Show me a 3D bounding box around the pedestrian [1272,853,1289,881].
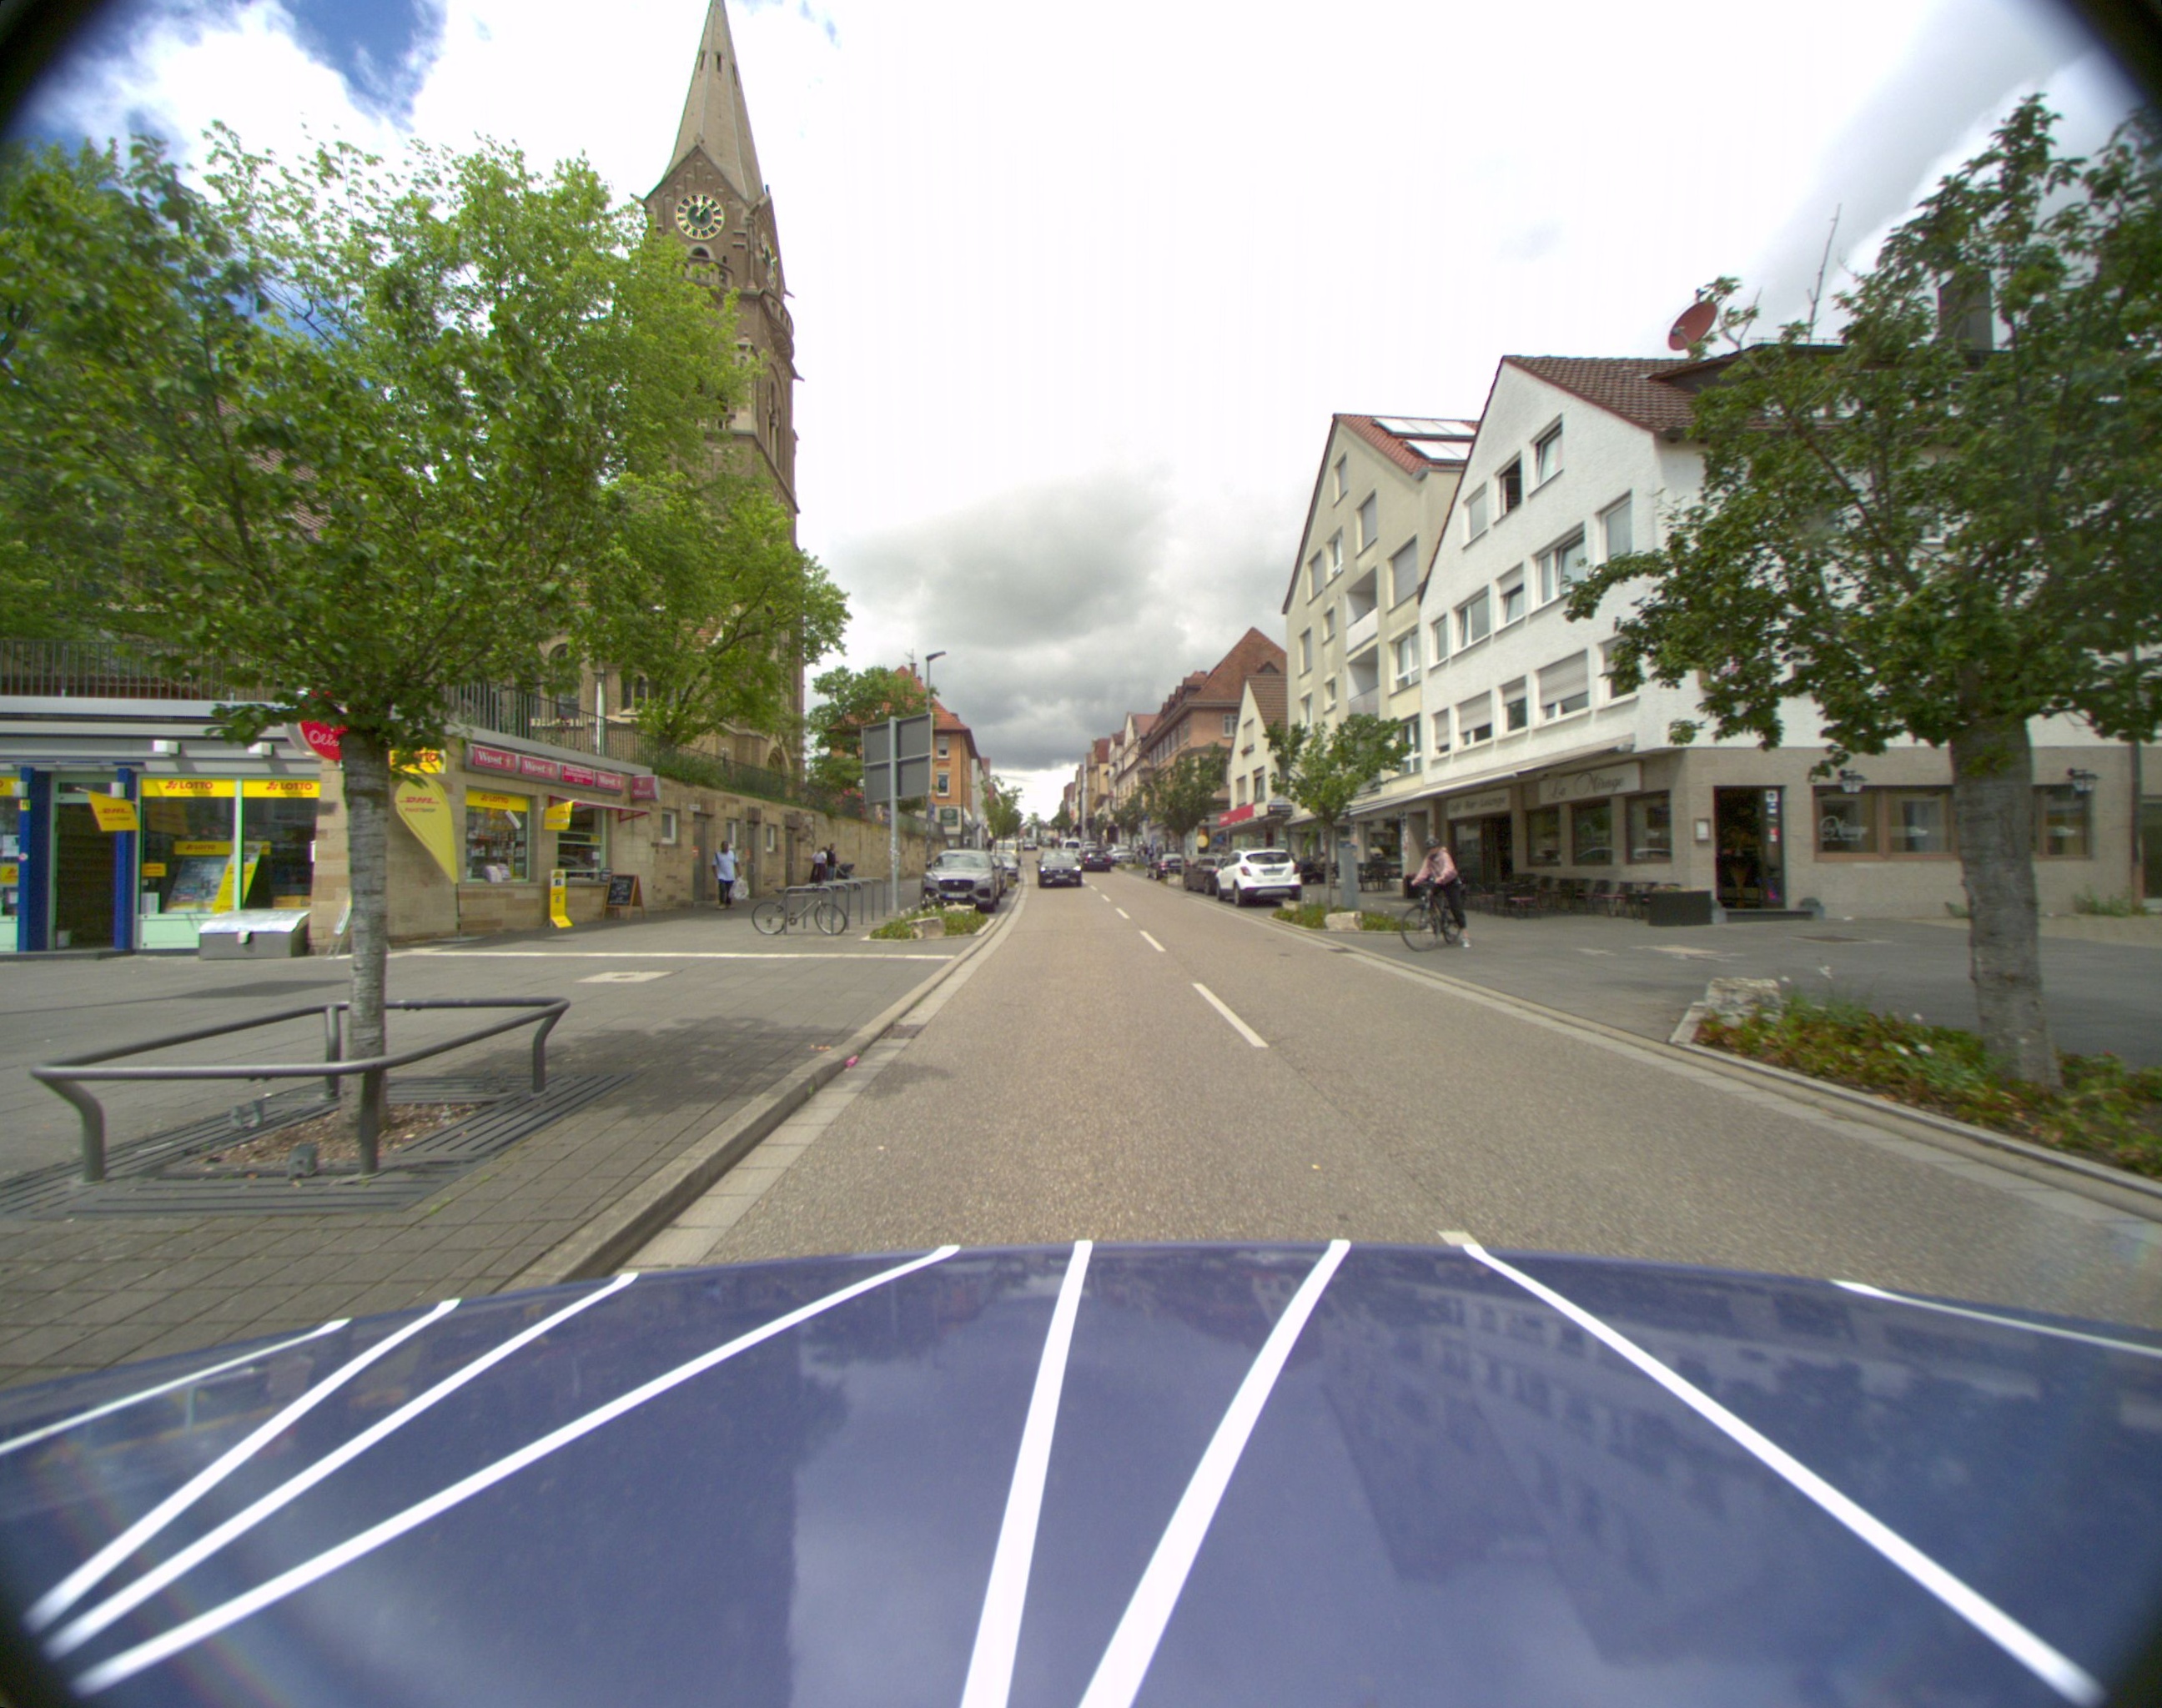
[{"bbox_3d":[8.916,0.569,33.967,0.597,1.239,0.598,-1,2,-4],"label":"pedestrian"}]

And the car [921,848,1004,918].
[{"bbox_3d":[-3.199,0.711,21.303,1.934,1.714,4.571,1,1,-5],"label":"car"}]

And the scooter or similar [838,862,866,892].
[{"bbox_3d":[-8.272,0.833,27.492,0.813,1.066,0.560,1,2,8],"label":"scooter or similar"}]

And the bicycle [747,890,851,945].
[{"bbox_3d":[-5.165,1.163,13.966,1.732,0.990,0.345,1,1,-7],"label":"bicycle"}]

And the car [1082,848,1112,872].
[{"bbox_3d":[0.992,0.360,47.437,1.611,1.380,3.627,1,1,-3],"label":"car"}]

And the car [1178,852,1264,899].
[{"bbox_3d":[5.016,0.725,27.791,1.845,1.443,4.512,-2,1,-6],"label":"car"}]

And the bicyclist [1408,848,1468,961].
[{"bbox_3d":[5.519,0.749,11.734,0.779,1.685,0.508,0,1,-38],"label":"bicyclist"}]

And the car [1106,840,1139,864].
[{"bbox_3d":[2.966,-0.172,55.122,1.730,1.564,4.451,-1,2,-6],"label":"car"}]

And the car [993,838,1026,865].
[{"bbox_3d":[-5.255,-0.252,56.201,1.890,1.837,5.029,0,2,1],"label":"car"}]

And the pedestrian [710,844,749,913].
[{"bbox_3d":[-8.969,0.625,19.399,0.764,1.720,0.596,1,1,-37],"label":"pedestrian"}]

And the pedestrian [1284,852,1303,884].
[{"bbox_3d":[8.595,0.576,30.776,0.551,1.260,0.598,-1,2,-4],"label":"pedestrian"}]

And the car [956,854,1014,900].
[{"bbox_3d":[-3.437,0.775,27.849,1.685,1.409,4.369,0,2,-2],"label":"car"}]

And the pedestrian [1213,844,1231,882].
[{"bbox_3d":[6.596,0.421,35.593,0.662,1.751,0.777,-1,2,-5],"label":"pedestrian"}]

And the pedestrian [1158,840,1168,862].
[{"bbox_3d":[6.007,-0.239,55.750,0.615,1.573,0.641,-1,2,-6],"label":"pedestrian"}]

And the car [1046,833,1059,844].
[{"bbox_3d":[-4.201,-2.265,110.298,1.686,1.492,4.150,0,2,-4],"label":"car"}]

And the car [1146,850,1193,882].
[{"bbox_3d":[4.388,0.544,38.288,1.661,1.384,4.441,-1,2,-3],"label":"car"}]

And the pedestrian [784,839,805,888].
[{"bbox_3d":[-9.748,0.322,25.894,0.474,1.636,0.507,1,2,8],"label":"pedestrian"}]

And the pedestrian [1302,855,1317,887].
[{"bbox_3d":[9.247,0.679,30.717,0.396,1.242,0.499,-1,1,-4],"label":"pedestrian"}]

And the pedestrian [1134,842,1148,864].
[{"bbox_3d":[4.551,-0.059,57.694,0.873,1.657,0.906,-1,2,-6],"label":"pedestrian"}]

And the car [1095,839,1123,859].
[{"bbox_3d":[2.269,-0.414,62.815,1.669,1.518,3.960,-2,2,-6],"label":"car"}]

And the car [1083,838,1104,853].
[{"bbox_3d":[1.196,-0.835,75.445,1.732,1.423,3.500,-1,2,-4],"label":"car"}]

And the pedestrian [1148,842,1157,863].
[{"bbox_3d":[5.268,-0.108,55.899,0.497,1.469,0.528,-1,2,-6],"label":"pedestrian"}]

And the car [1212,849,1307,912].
[{"bbox_3d":[5.131,0.693,22.367,1.670,1.637,4.132,-2,1,-1],"label":"car"}]

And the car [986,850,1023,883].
[{"bbox_3d":[-3.863,0.595,38.293,1.760,1.433,4.086,0,2,-6],"label":"car"}]

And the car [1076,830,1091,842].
[{"bbox_3d":[0.326,-2.403,102.247,1.690,1.516,3.526,0,2,-4],"label":"car"}]

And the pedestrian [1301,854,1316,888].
[{"bbox_3d":[8.773,0.660,29.287,0.422,1.292,0.454,-1,1,-4],"label":"pedestrian"}]

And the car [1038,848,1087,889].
[{"bbox_3d":[-0.869,0.589,33.177,1.895,1.516,3.733,-2,2,-4],"label":"car"}]

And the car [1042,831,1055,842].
[{"bbox_3d":[-5.297,-2.841,123.811,1.831,1.680,3.856,0,2,-5],"label":"car"}]

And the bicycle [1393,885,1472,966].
[{"bbox_3d":[5.447,1.071,11.738,1.657,1.081,0.412,-2,3,-39],"label":"bicycle"}]

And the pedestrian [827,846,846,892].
[{"bbox_3d":[-8.856,0.527,27.504,0.474,1.636,0.507,1,2,8],"label":"pedestrian"}]

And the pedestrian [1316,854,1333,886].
[{"bbox_3d":[9.455,0.610,29.466,0.428,1.242,0.566,-1,1,-4],"label":"pedestrian"}]

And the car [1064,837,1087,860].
[{"bbox_3d":[-0.480,-0.484,63.620,1.751,1.792,4.210,1,1,-3],"label":"car"}]

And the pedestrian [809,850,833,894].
[{"bbox_3d":[-8.956,0.622,26.206,0.590,1.515,0.584,0,1,2],"label":"pedestrian"}]
